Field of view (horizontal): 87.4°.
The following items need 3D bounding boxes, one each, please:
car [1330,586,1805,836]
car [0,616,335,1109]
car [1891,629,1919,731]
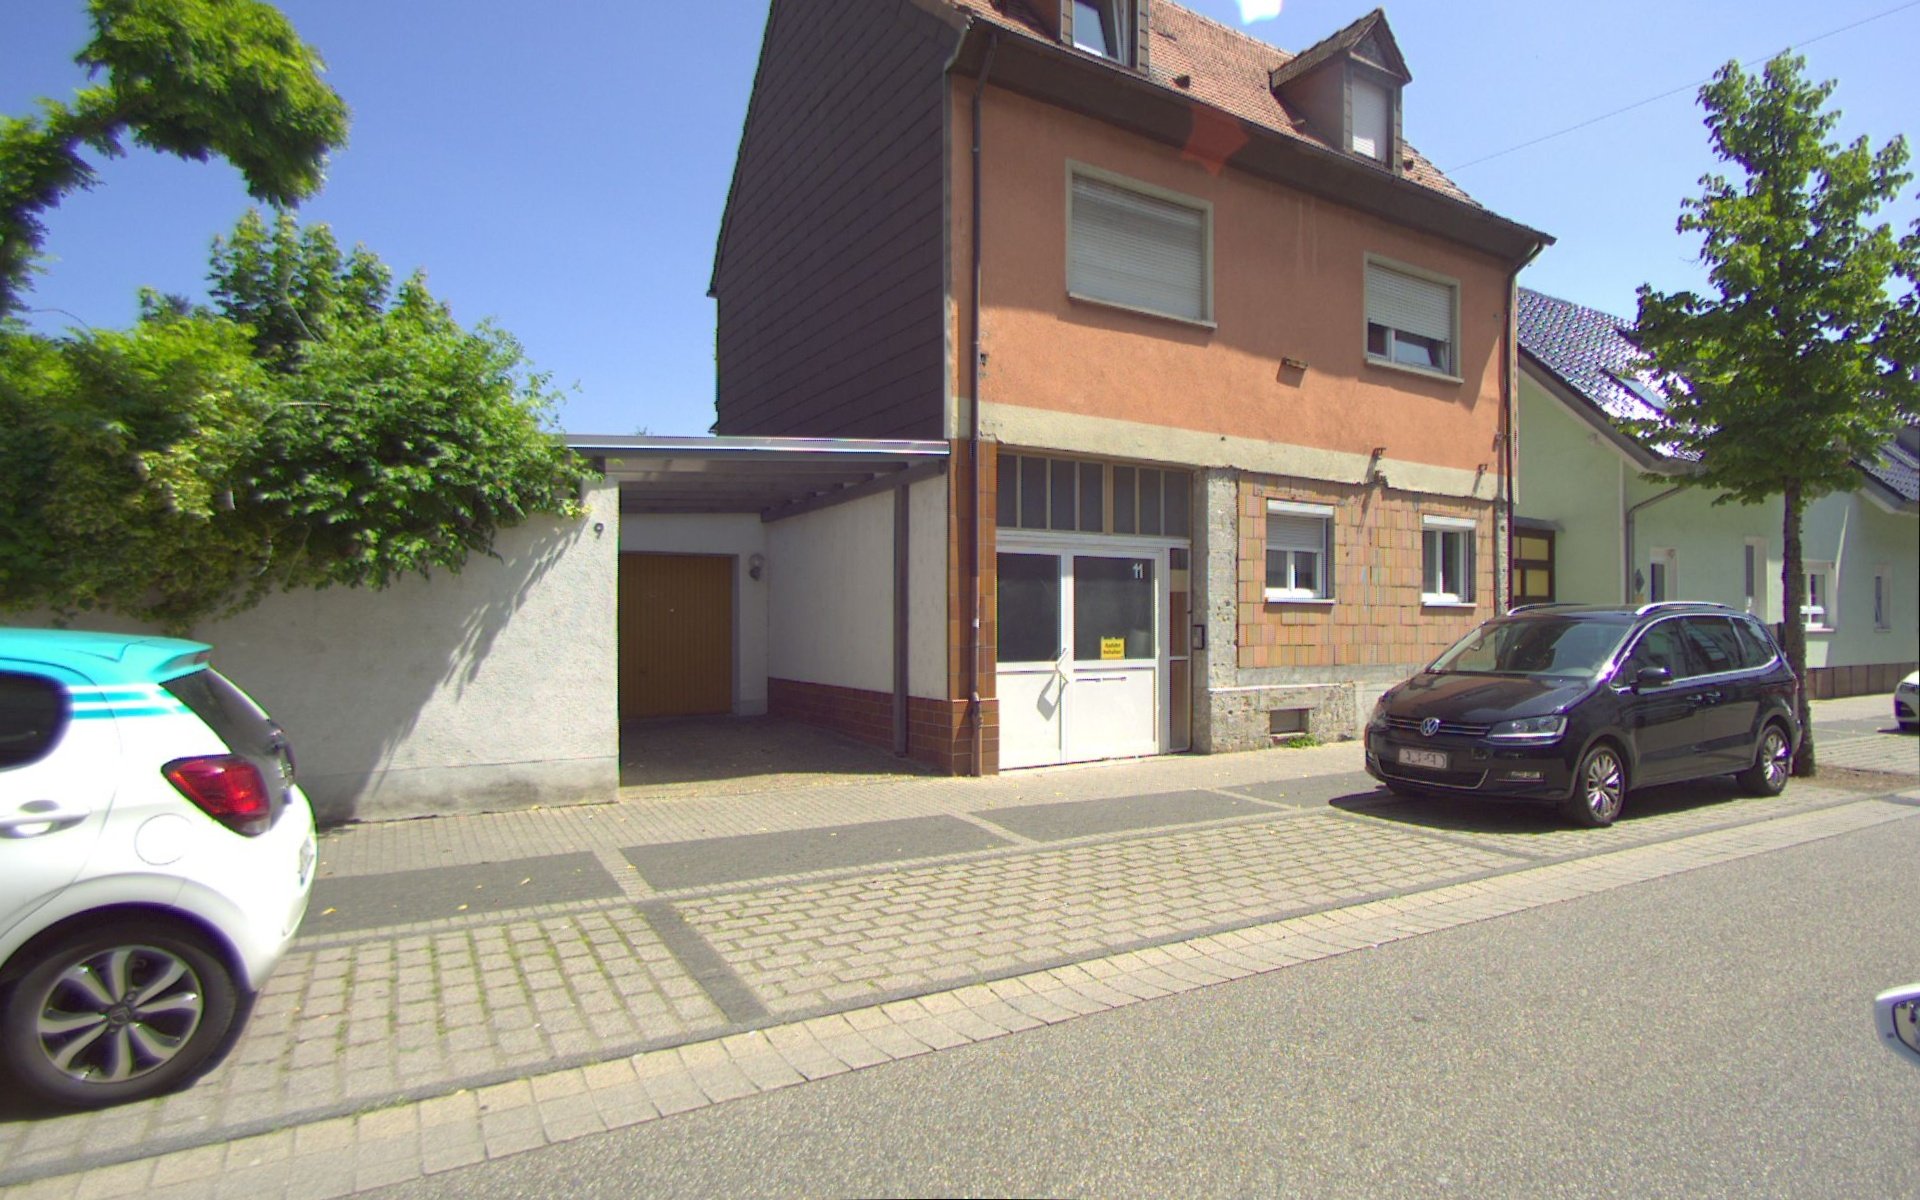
[{"bbox_3d":[5.503,0.822,8.953,4.468,1.749,1.766,1,-1,-31],"label":"car"},{"bbox_3d":[-4.007,0.777,3.168,3.370,1.449,1.546,1,-2,-30],"label":"car"},{"bbox_3d":[15.917,1.190,15.058,4.408,1.456,1.711,1,-1,-31],"label":"car"}]
